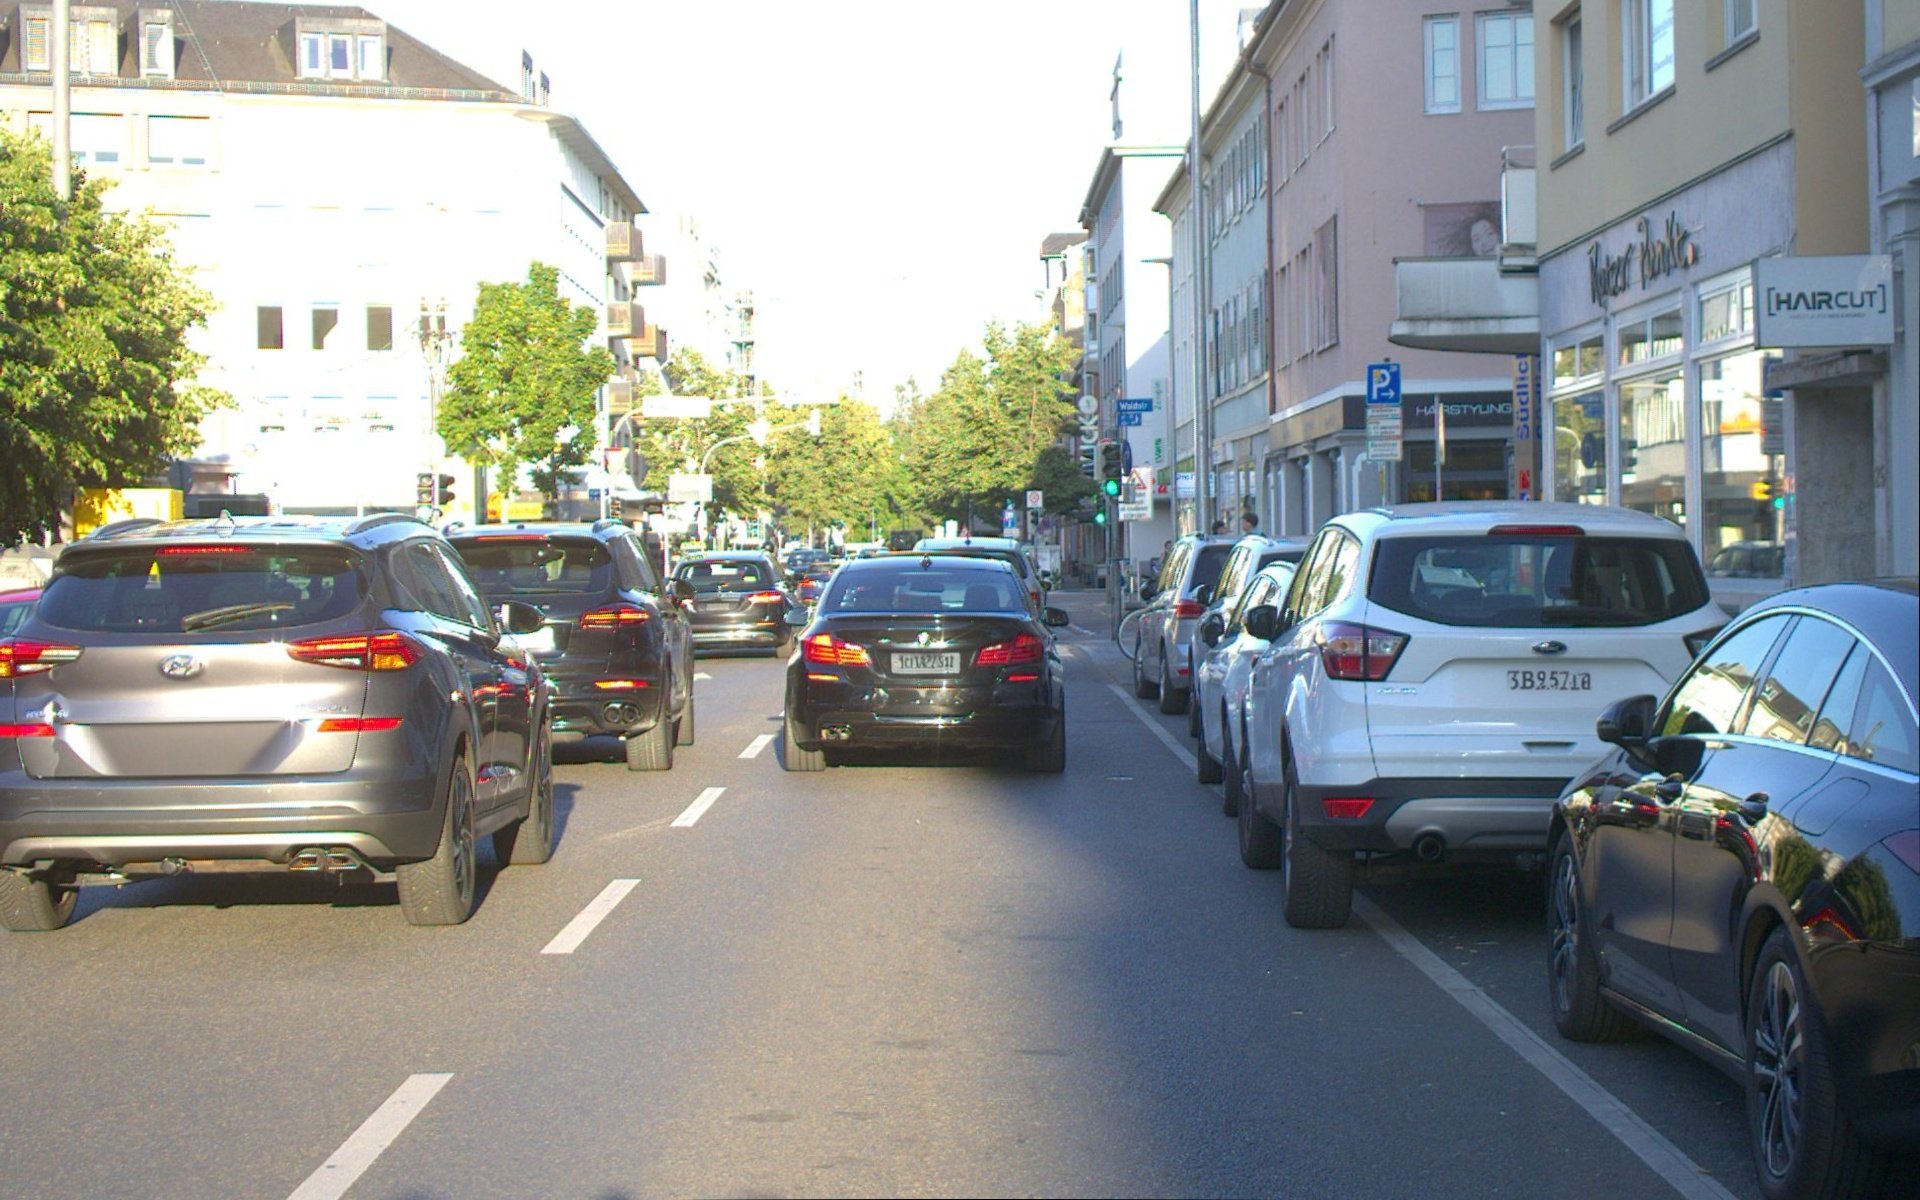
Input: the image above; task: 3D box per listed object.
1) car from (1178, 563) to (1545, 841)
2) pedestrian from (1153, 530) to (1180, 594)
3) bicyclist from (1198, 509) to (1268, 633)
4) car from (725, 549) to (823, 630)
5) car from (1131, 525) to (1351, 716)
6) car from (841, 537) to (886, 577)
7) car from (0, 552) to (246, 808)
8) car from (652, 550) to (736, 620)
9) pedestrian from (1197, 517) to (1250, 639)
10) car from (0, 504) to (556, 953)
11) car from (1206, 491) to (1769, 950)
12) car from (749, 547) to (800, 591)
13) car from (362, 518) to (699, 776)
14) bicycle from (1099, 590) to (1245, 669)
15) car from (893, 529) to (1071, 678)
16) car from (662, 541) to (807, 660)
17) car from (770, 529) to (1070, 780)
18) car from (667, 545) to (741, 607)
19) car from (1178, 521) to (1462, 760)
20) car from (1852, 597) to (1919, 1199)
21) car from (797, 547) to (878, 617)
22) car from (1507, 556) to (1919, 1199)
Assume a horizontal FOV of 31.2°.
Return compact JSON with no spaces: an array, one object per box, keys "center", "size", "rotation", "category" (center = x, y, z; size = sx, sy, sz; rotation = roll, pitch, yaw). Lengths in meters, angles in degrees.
[{"center":[2.273,0.530,20.474],"size":[1.730,1.445,4.312],"rotation":[1,0,1],"category":"car"},{"center":[4.963,-0.910,82.815],"size":[0.632,1.528,0.701],"rotation":[0,1,3],"category":"pedestrian"},{"center":[3.922,-0.421,49.400],"size":[0.832,1.771,0.608],"rotation":[0,1,27],"category":"bicyclist"},{"center":[-3.632,-0.230,67.633],"size":[1.779,1.542,4.000],"rotation":[0,1,-1],"category":"car"},{"center":[2.568,0.168,32.200],"size":[1.730,1.646,3.970],"rotation":[1,0,0],"category":"car"},{"center":[-3.839,-1.722,137.168],"size":[1.779,1.542,4.000],"rotation":[0,1,-1],"category":"car"},{"center":[-6.136,0.493,23.388],"size":[1.691,1.547,3.951],"rotation":[-3,1,-1],"category":"car"},{"center":[-6.381,-0.377,82.846],"size":[1.691,1.547,3.951],"rotation":[-3,1,-1],"category":"car"},{"center":[3.941,-0.333,51.436],"size":[0.699,1.805,0.635],"rotation":[0,1,-4],"category":"pedestrian"},{"center":[-2.898,0.448,14.733],"size":[1.896,1.644,4.104],"rotation":[0,1,-1],"category":"car"},{"center":[2.082,0.429,14.714],"size":[1.730,1.645,4.284],"rotation":[1,0,0],"category":"car"},{"center":[-6.934,-1.176,128.780],"size":[1.691,1.547,3.951],"rotation":[-3,1,-1],"category":"car"},{"center":[-2.909,0.273,24.082],"size":[1.896,1.644,4.104],"rotation":[0,1,-1],"category":"car"},{"center":[2.604,0.359,42.173],"size":[1.766,0.963,0.490],"rotation":[0,1,5],"category":"bicycle"},{"center":[0.210,0.010,39.096],"size":[1.896,1.576,4.000],"rotation":[1,1,-1],"category":"car"},{"center":[-3.015,-0.028,46.678],"size":[1.779,1.542,4.000],"rotation":[0,1,-1],"category":"car"},{"center":[-0.282,0.322,23.930],"size":[1.896,1.576,4.000],"rotation":[1,1,-1],"category":"car"},{"center":[-6.966,-0.671,93.842],"size":[1.691,1.547,3.951],"rotation":[-3,1,-1],"category":"car"},{"center":[2.641,0.273,25.979],"size":[1.730,1.646,3.829],"rotation":[1,0,0],"category":"car"},{"center":[2.396,0.745,3.629],"size":[1.730,1.443,4.524],"rotation":[1,0,0],"category":"car"},{"center":[-2.769,-0.436,78.657],"size":[1.779,1.542,4.000],"rotation":[0,1,-1],"category":"car"},{"center":[2.618,0.643,8.715],"size":[1.730,1.443,4.474],"rotation":[1,0,0],"category":"car"}]
